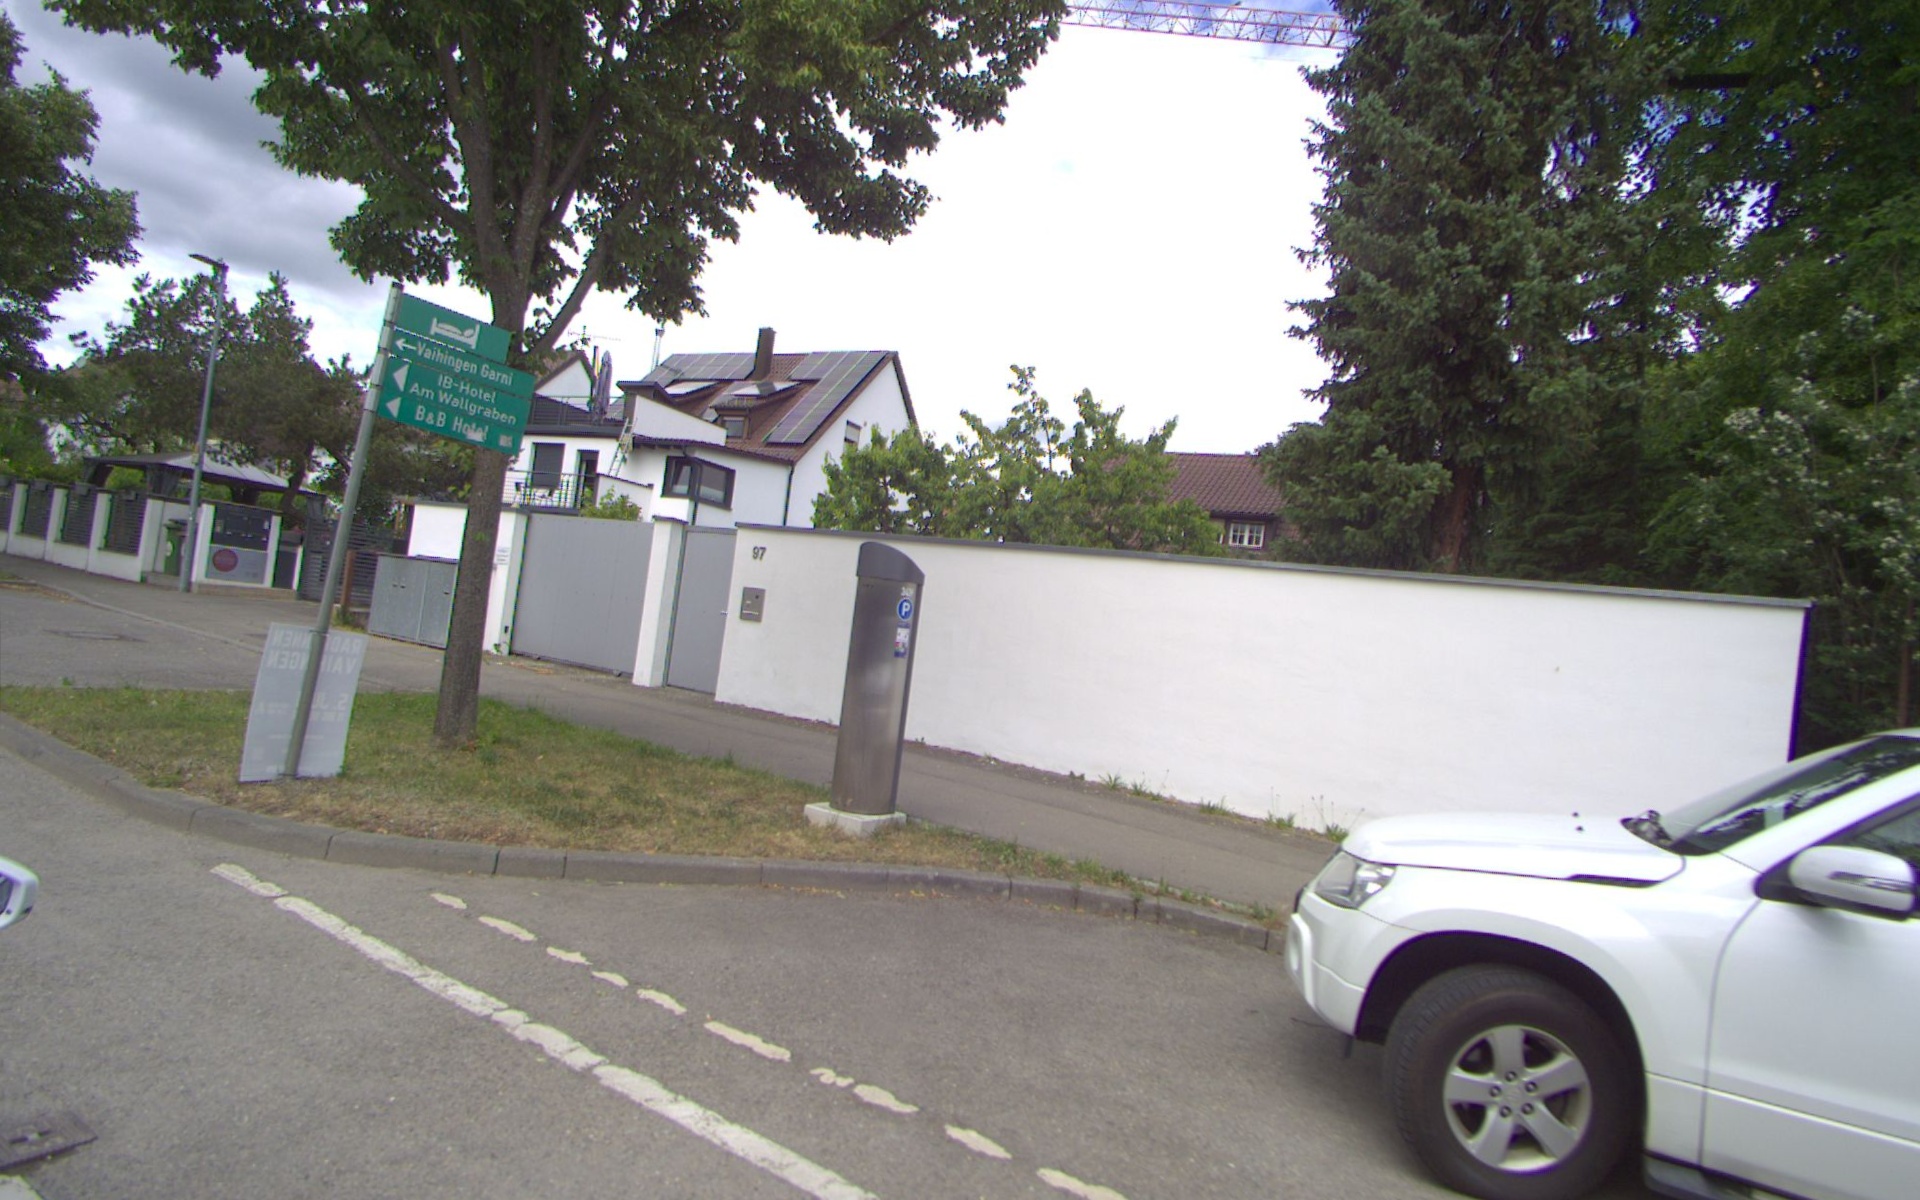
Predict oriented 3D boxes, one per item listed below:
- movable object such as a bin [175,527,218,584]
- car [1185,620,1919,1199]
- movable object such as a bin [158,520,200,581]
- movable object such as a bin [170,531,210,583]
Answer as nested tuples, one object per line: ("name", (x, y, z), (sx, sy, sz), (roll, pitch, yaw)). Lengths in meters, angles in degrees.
("movable object such as a bin", (-14.740, -0.859, 19.426), (0.447, 1.034, 0.437), (7, 0, 32))
("car", (3.074, 1.175, 3.258), (4.048, 1.661, 1.904), (6, -2, 31))
("movable object such as a bin", (-15.597, -0.988, 20.090), (0.447, 1.123, 0.437), (7, 0, 32))
("movable object such as a bin", (-15.164, -0.844, 19.820), (0.389, 0.931, 0.437), (7, 0, 32))
